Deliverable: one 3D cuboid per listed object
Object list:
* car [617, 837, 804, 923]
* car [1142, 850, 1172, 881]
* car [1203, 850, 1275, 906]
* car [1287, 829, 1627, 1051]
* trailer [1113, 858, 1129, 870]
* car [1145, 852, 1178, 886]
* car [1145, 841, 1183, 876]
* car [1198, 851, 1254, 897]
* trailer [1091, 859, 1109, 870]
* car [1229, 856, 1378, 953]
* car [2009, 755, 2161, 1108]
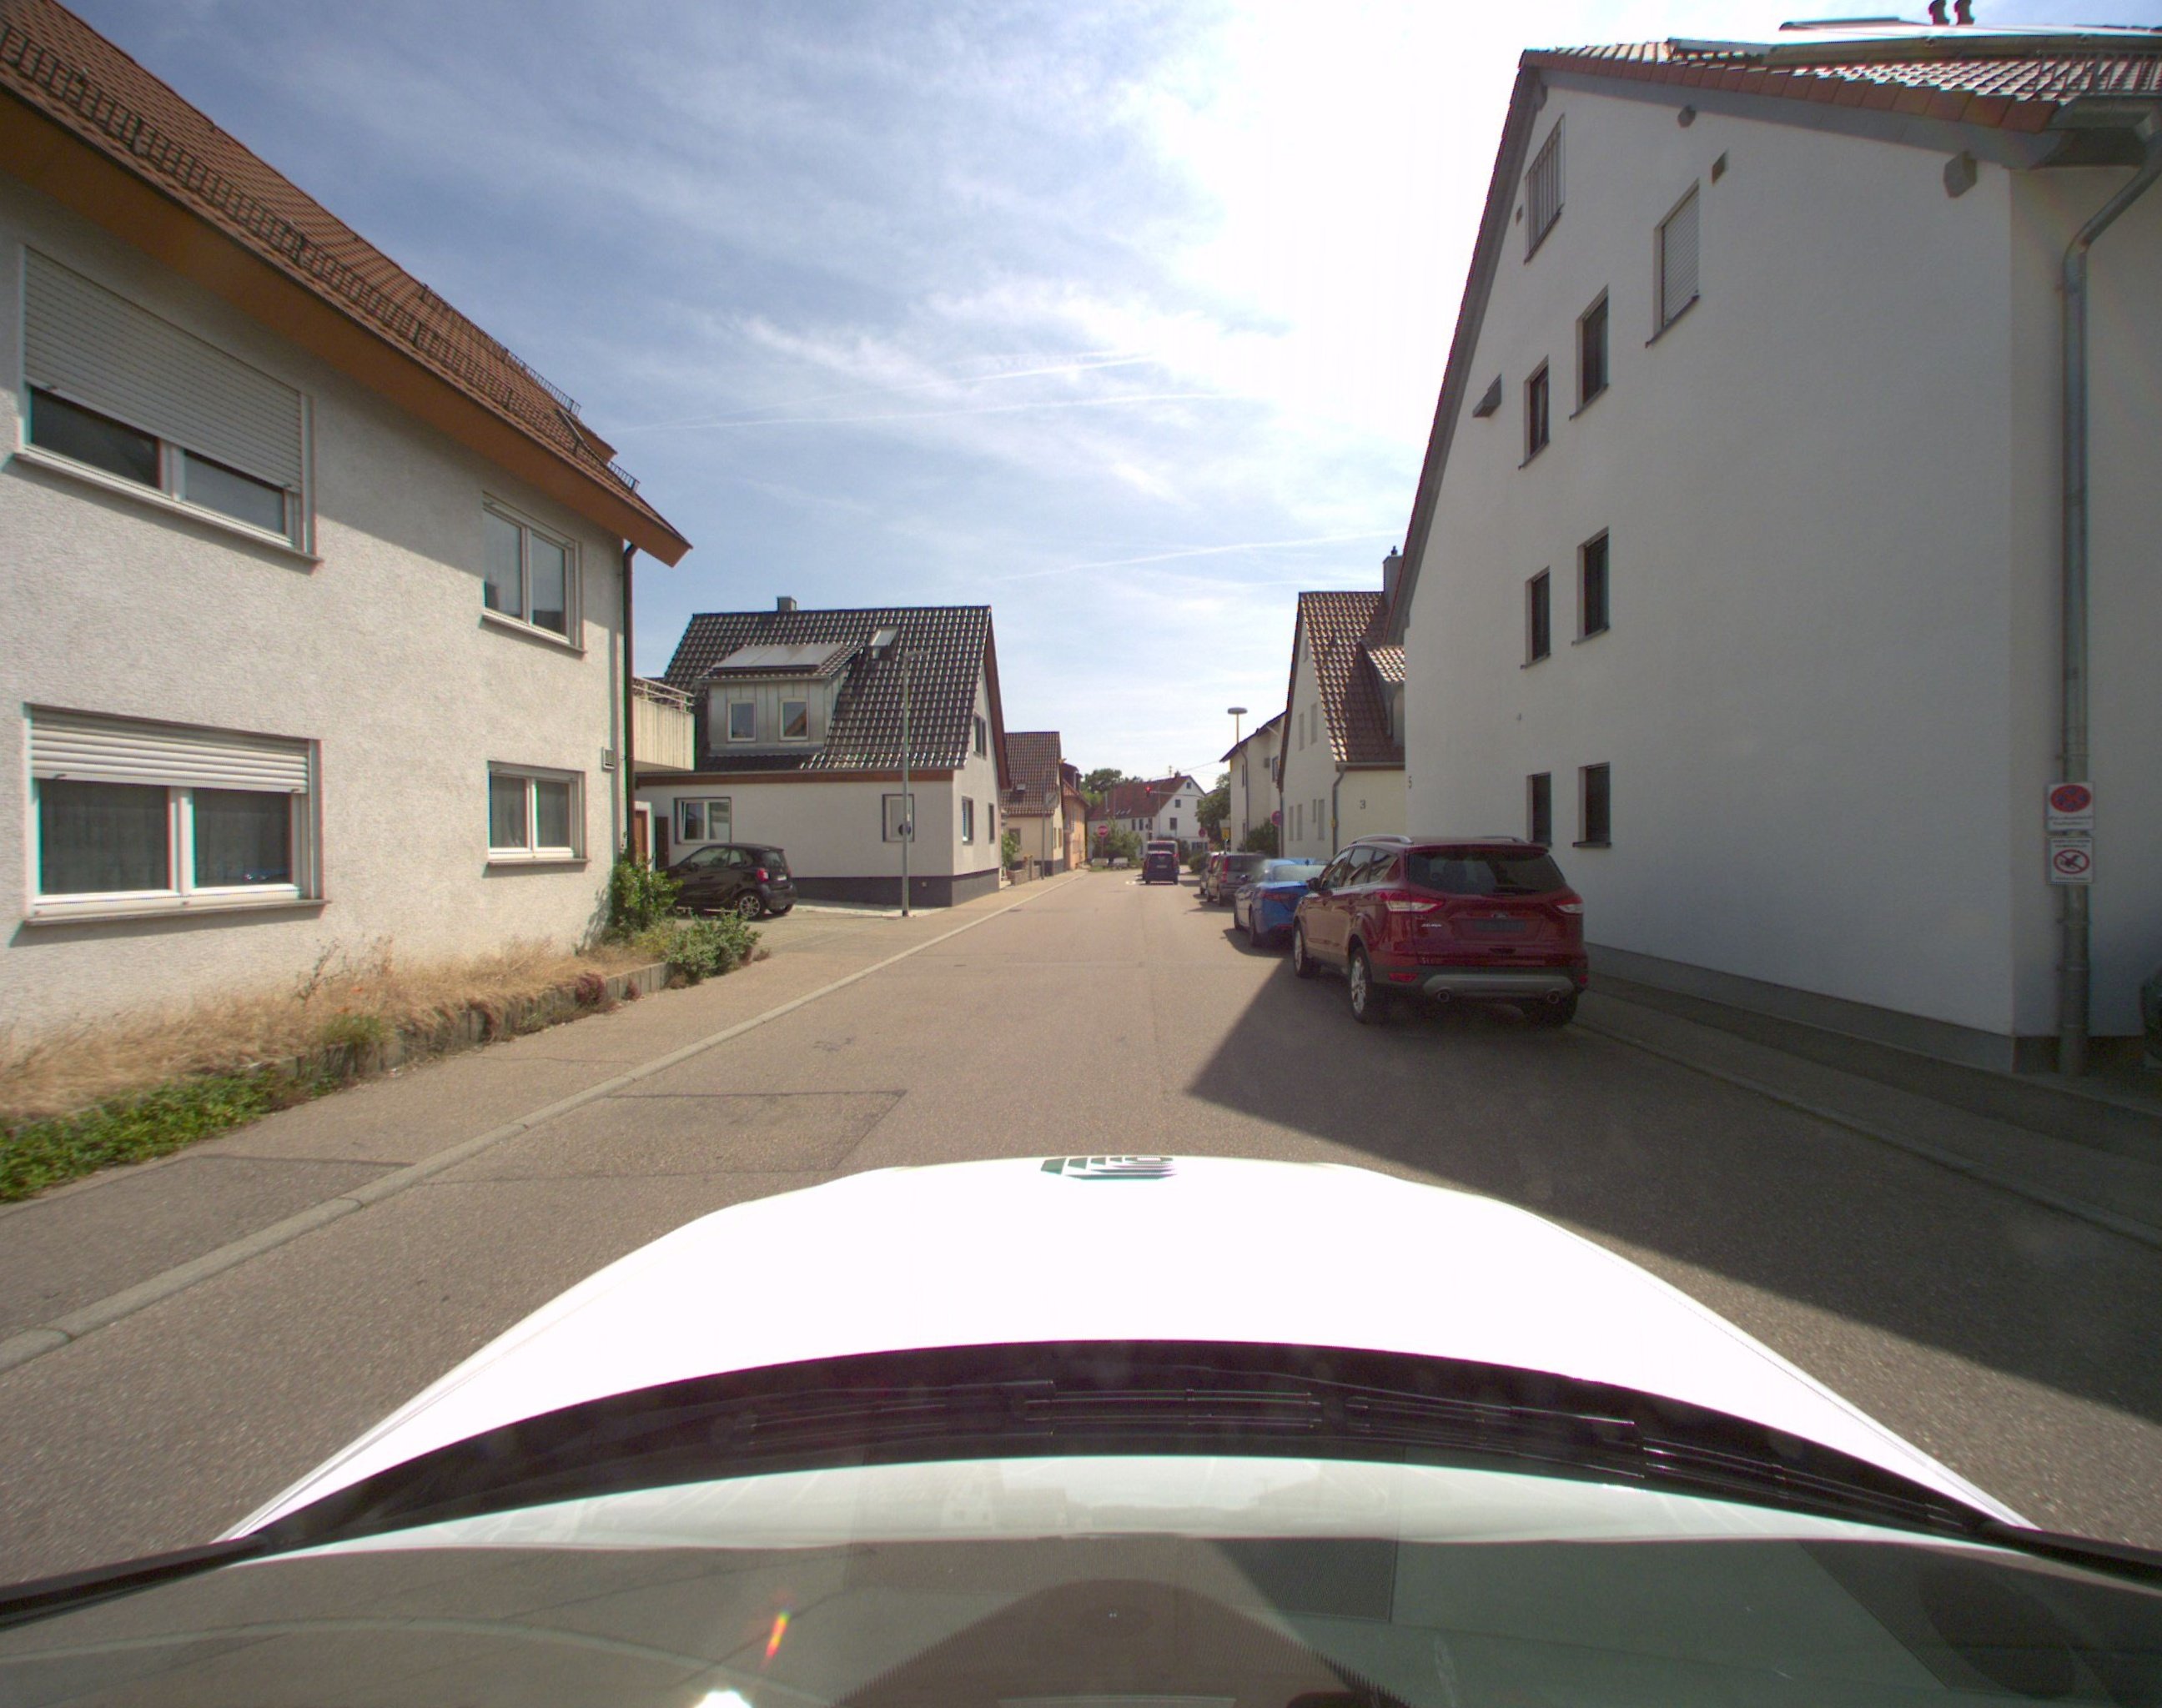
[{"bbox_3d":[-7.821,0.520,17.401,3.098,1.577,1.715,3,0,2],"label":"car"},{"bbox_3d":[4.172,0.591,44.348,1.507,1.624,3.190,-1,0,7],"label":"car"},{"bbox_3d":[4.636,0.656,24.238,1.561,1.545,3.450,0,0,1],"label":"car"},{"bbox_3d":[3.439,0.655,8.423,1.867,1.700,4.188,0,0,4],"label":"car"},{"bbox_3d":[3.415,0.843,69.198,1.304,0.970,0.935,-1,0,5],"label":"trailer"},{"bbox_3d":[3.935,0.706,39.590,1.507,1.567,3.190,0,0,7],"label":"car"},{"bbox_3d":[5.488,0.260,53.561,2.116,2.158,4.749,-1,0,10],"label":"car"},{"bbox_3d":[4.999,0.670,28.439,1.492,1.513,3.364,0,0,3],"label":"car"},{"bbox_3d":[1.612,0.888,69.461,1.494,0.927,1.014,1,0,5],"label":"trailer"},{"bbox_3d":[3.709,0.747,14.381,1.755,1.424,4.598,0,0,5],"label":"car"},{"bbox_3d":[7.879,0.383,3.935,4.500,1.843,2.000,-1,0,1],"label":"car"}]
